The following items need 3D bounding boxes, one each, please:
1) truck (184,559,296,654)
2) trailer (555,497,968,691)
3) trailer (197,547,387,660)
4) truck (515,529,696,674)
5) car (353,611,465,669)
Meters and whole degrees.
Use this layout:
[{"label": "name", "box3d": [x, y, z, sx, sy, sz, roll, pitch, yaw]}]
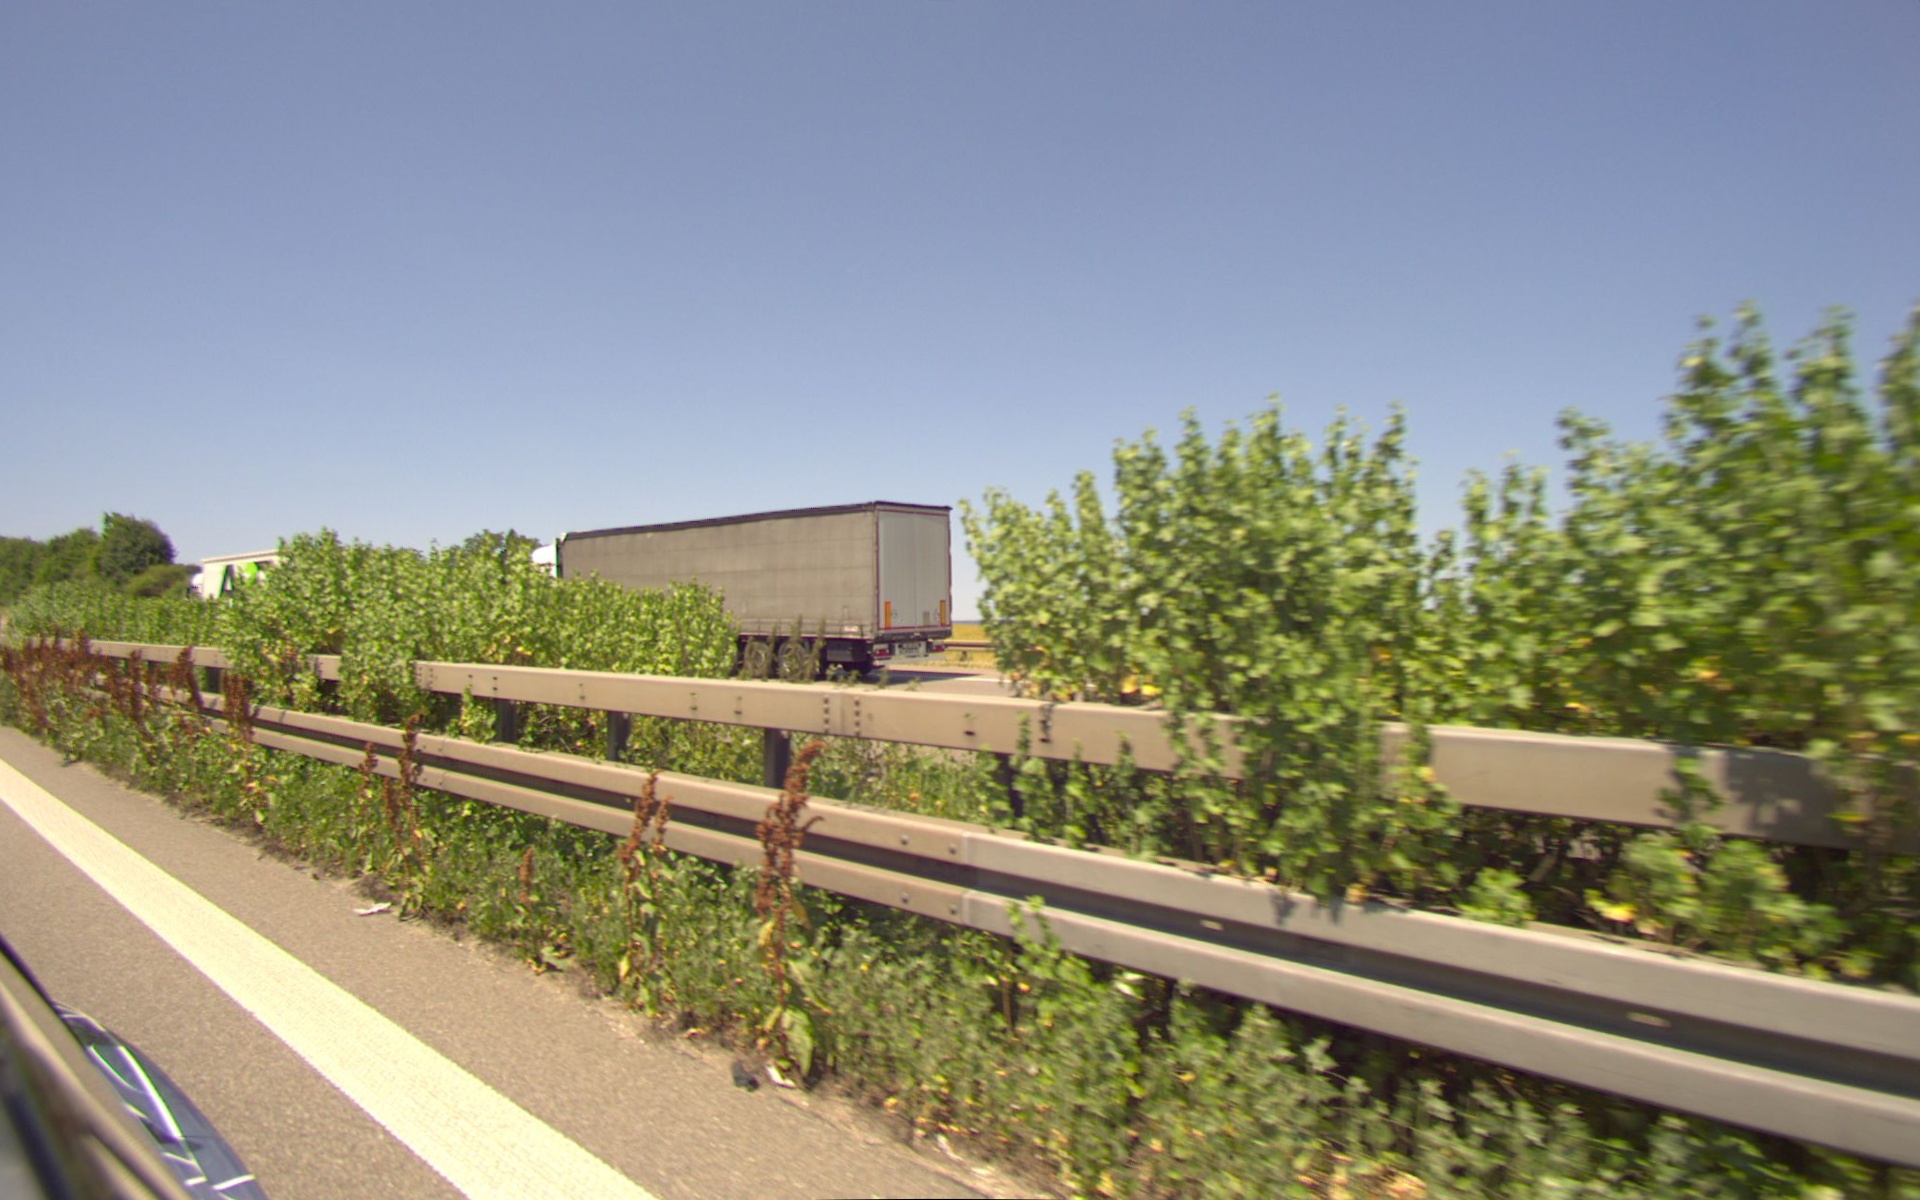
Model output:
[{"label": "truck", "box3d": [-33.639, 0.319, 47.238, 5.224, 4.140, 3.142, -2, -1, 42]}, {"label": "trailer", "box3d": [-6.066, 0.012, 27.199, 14.037, 4.107, 2.937, -2, -1, 42]}, {"label": "trailer", "box3d": [-28.531, 0.267, 42.700, 14.037, 4.107, 3.159, -2, 0, 42]}, {"label": "truck", "box3d": [-11.214, 0.093, 31.841, 5.619, 4.140, 2.979, -2, -1, 42]}, {"label": "car", "box3d": [-16.104, 1.152, 29.523, 3.653, 1.546, 1.671, -2, 0, 41]}]
